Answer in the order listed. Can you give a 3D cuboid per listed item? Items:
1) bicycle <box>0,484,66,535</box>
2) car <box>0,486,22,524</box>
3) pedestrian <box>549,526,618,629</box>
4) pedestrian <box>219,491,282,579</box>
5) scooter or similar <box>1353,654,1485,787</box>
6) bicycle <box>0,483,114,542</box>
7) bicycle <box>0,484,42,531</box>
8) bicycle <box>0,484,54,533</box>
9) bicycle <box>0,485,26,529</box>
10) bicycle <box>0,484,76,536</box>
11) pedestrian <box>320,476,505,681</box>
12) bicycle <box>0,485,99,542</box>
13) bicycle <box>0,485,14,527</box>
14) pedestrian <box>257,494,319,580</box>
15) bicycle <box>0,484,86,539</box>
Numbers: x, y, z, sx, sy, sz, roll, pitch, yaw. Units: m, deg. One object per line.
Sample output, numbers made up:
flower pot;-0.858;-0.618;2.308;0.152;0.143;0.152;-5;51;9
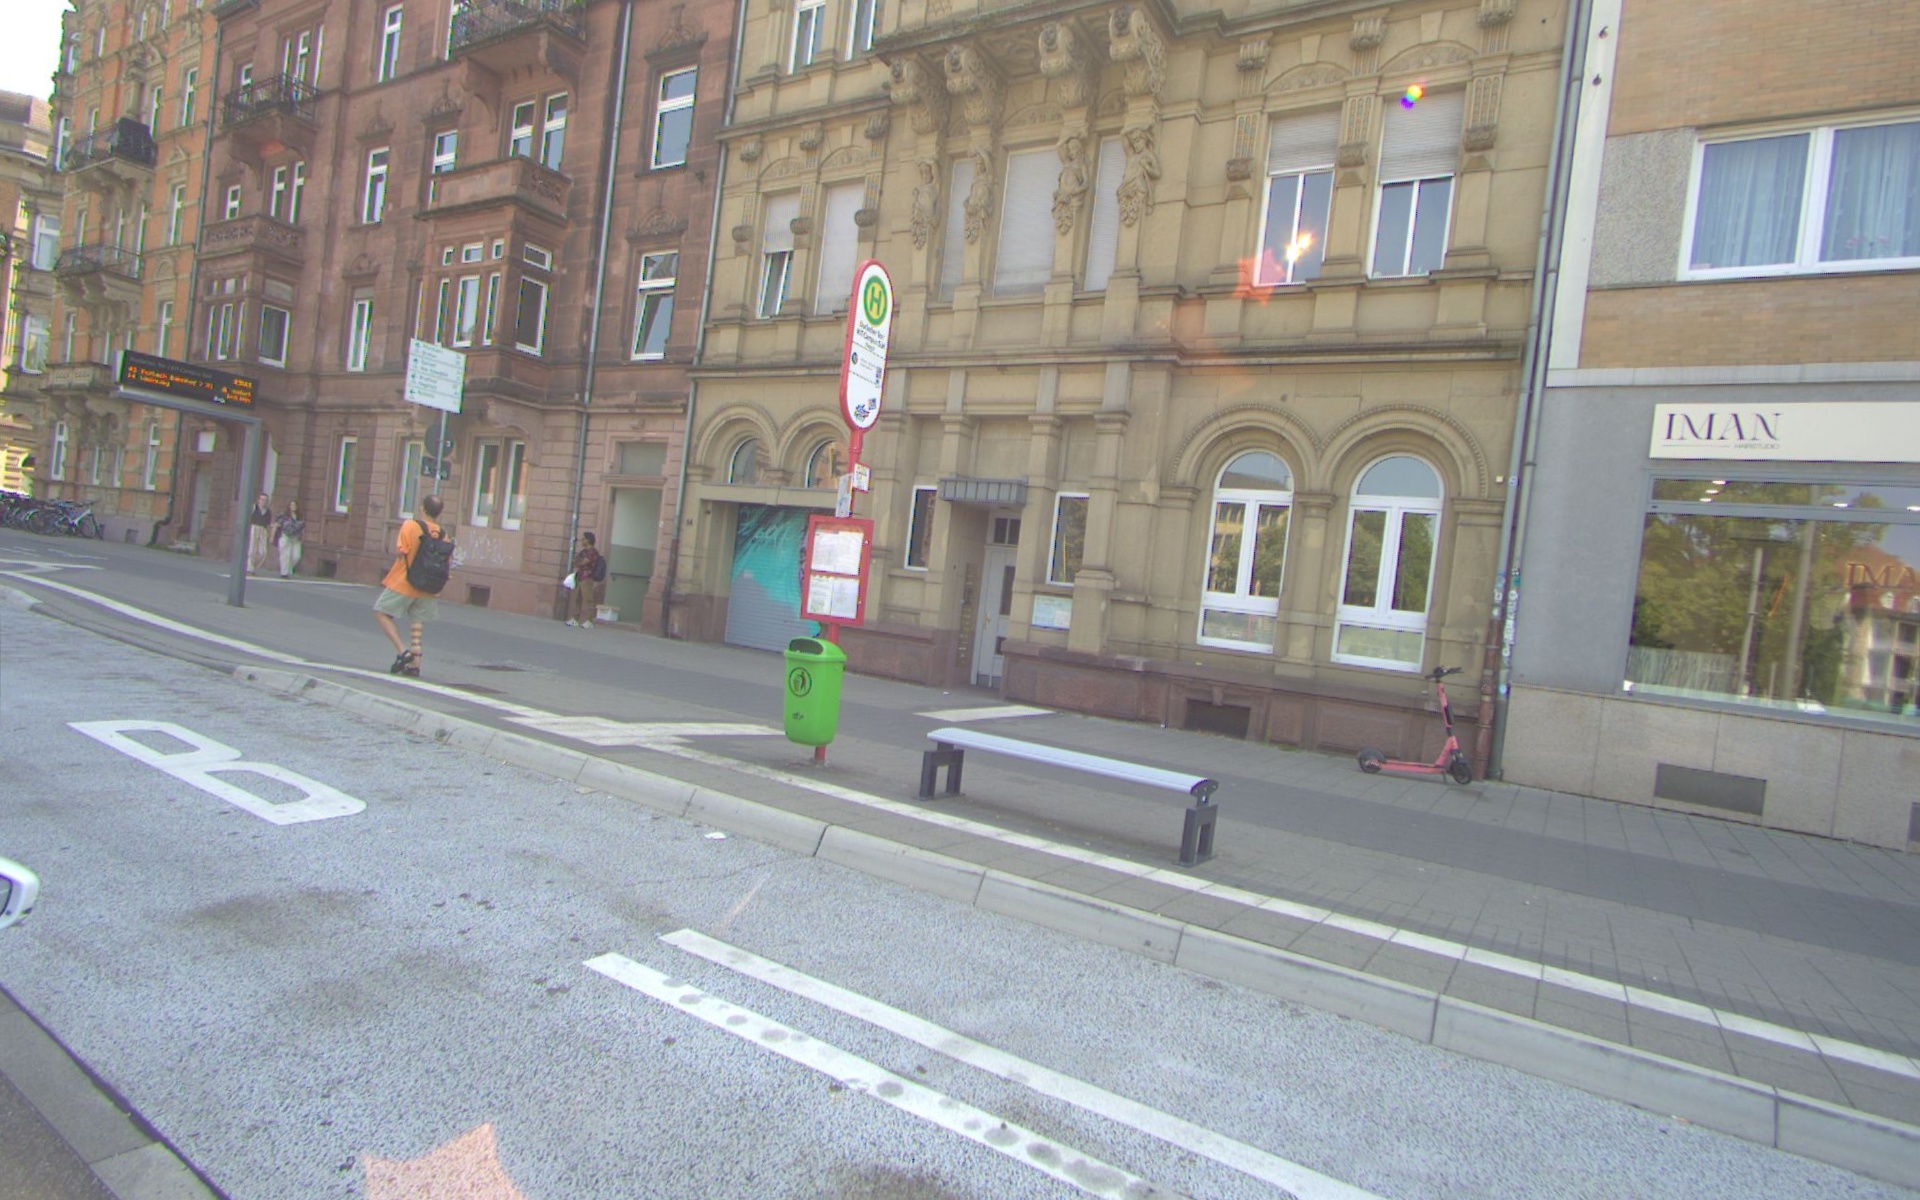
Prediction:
bicycle;-30.204;-2.949;31.554;0.932;1.390;3.007;7;0;31
car;-42.000;-4.236;41.865;1.652;1.539;3.942;7;0;24
pedestrian;-7.033;-0.408;18.827;0.729;1.800;0.870;7;1;4
pedestrian;-15.518;-1.421;22.015;0.833;1.798;0.715;7;1;31
scooter or similar;4.889;1.257;10.729;1.122;1.228;0.476;7;1;27
bicycle;-27.066;-2.600;29.722;0.857;1.388;2.997;7;0;31
bicycle;-31.965;-3.153;32.624;0.932;1.390;3.007;7;0;31
bicycle;-31.107;-3.052;32.133;0.932;1.390;3.007;7;0;31
bicycle;-33.080;-3.268;33.275;0.932;1.390;3.007;7;0;31
bicycle;-29.420;-2.865;31.064;0.857;1.388;2.997;7;0;31
pedestrian;-5.134;-0.197;9.446;1.220;1.762;0.964;5;-1;37
bicycle;-27.874;-2.631;30.113;0.857;1.388;2.997;7;0;31
bicycle;-33.966;-3.367;33.781;0.932;1.390;3.007;7;0;31
pedestrian;-15.135;-1.419;22.655;0.856;1.800;0.715;7;1;30
bicycle;-28.648;-2.761;30.553;0.857;1.388;2.997;7;0;31
